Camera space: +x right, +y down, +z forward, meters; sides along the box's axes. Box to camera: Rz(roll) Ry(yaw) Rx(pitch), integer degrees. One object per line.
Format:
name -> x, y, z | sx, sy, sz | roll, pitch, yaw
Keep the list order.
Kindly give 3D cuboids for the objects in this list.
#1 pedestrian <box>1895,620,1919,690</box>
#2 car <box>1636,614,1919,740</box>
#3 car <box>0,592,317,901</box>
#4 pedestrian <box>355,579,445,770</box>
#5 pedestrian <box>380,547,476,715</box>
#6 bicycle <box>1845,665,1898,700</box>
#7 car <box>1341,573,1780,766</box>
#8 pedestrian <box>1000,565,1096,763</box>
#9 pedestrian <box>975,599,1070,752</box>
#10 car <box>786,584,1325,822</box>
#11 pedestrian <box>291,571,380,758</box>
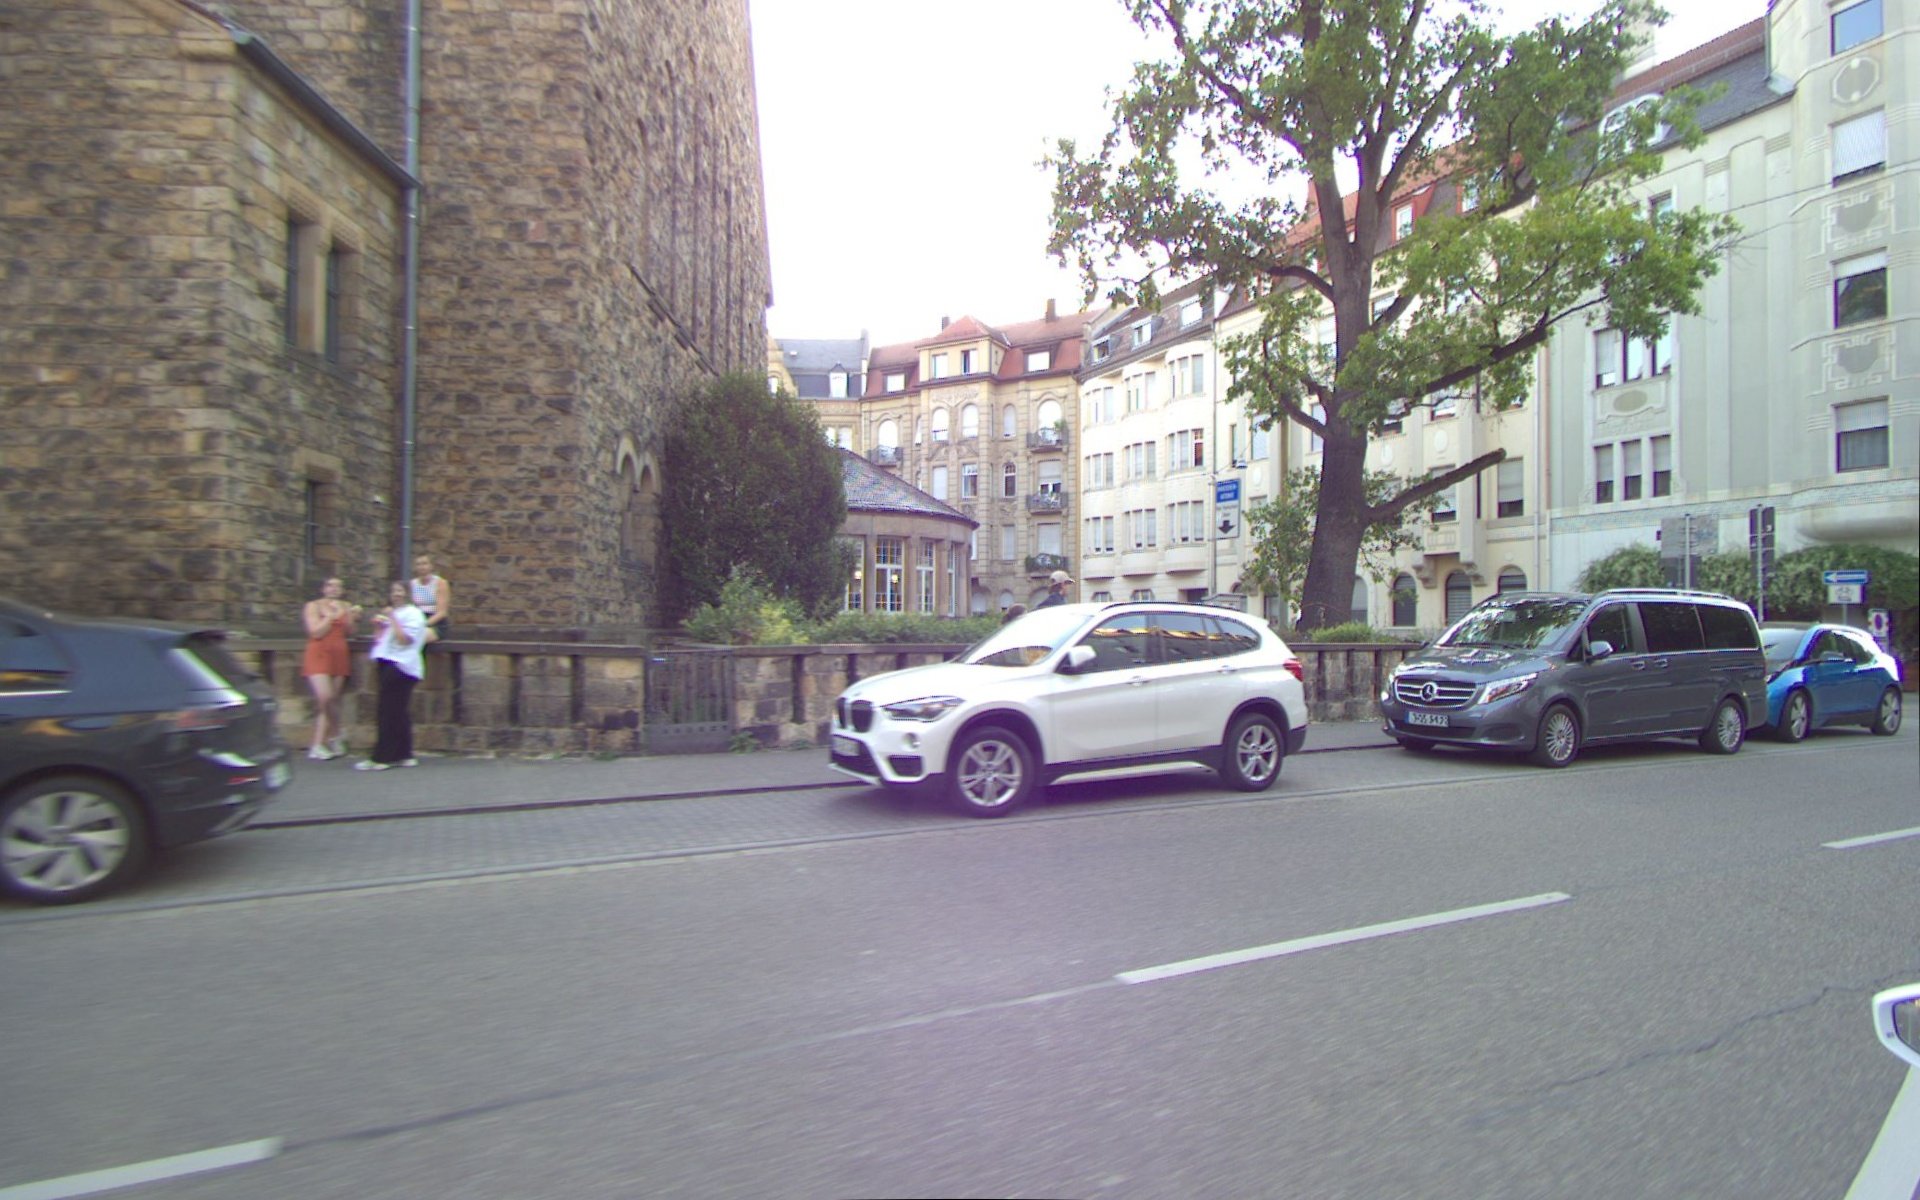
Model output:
pedestrian -> 23.409, 1.339, 24.548 | 0.603, 1.697, 0.569 | 0, -1, 12
car -> 11.579, 1.017, 14.161 | 3.950, 1.576, 1.635 | 1, -1, -26
car -> -5.895, 0.691, 5.049 | 4.259, 1.454, 1.777 | 1, -2, -26
pedestrian -> -5.014, 0.647, 9.002 | 0.407, 1.643, 0.548 | 0, -1, 23
pedestrian -> -5.112, 0.298, 9.685 | 0.574, 1.566, 0.652 | 1, -1, -4
bicycle -> 21.476, 1.937, 23.662 | 1.758, 0.705, 0.421 | -1, 0, -31
car -> 7.175, 0.745, 11.916 | 5.220, 1.891, 1.987 | 1, -1, -26
pedestrian -> 0.901, 0.642, 10.260 | 0.794, 1.930, 0.579 | 1, -2, -31
pedestrian -> 0.675, 0.789, 10.831 | 0.829, 1.572, 0.579 | 1, -1, -31
car -> 0.906, 0.766, 8.735 | 4.415, 1.613, 1.863 | 1, -2, -29
pedestrian -> -5.886, 0.594, 9.477 | 0.407, 1.696, 0.548 | 0, -1, 23
